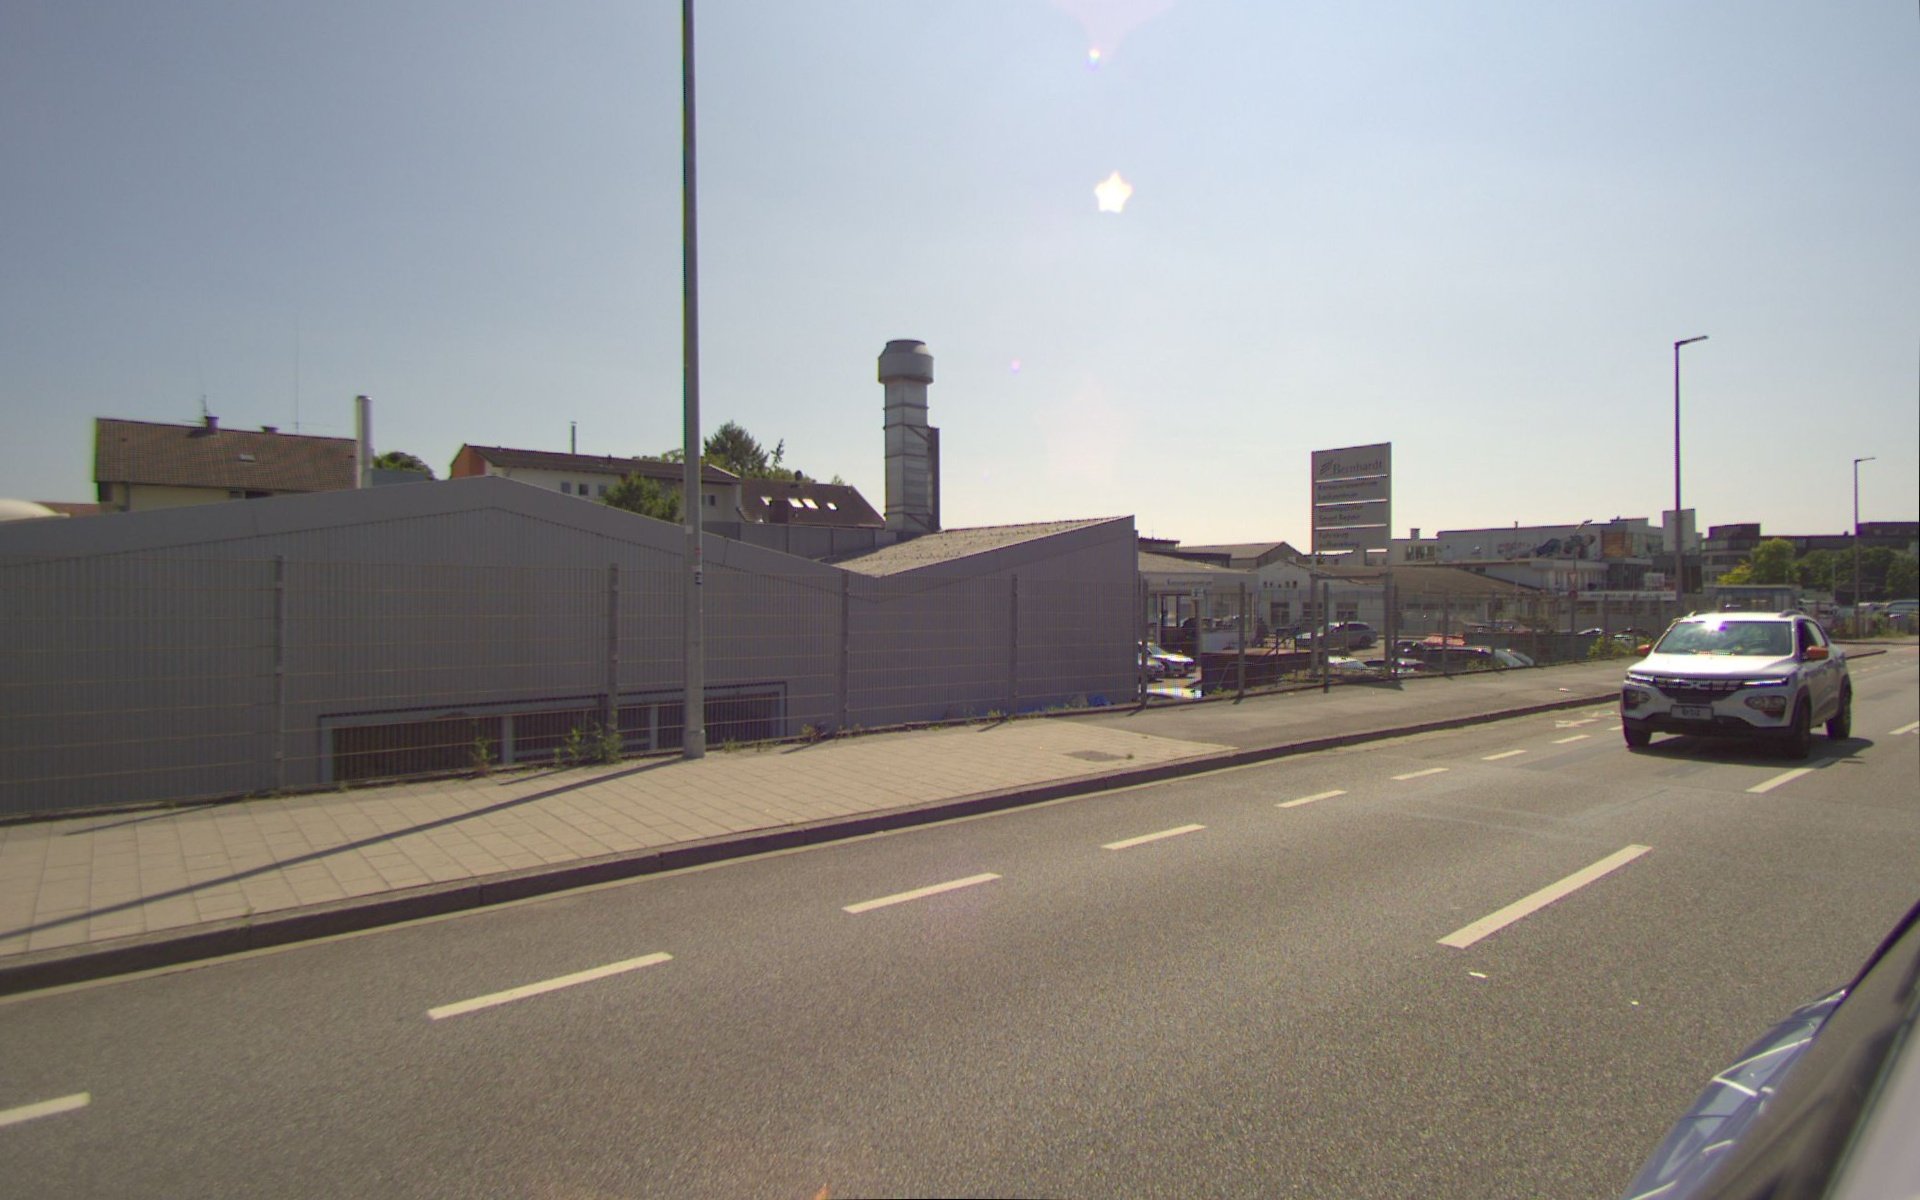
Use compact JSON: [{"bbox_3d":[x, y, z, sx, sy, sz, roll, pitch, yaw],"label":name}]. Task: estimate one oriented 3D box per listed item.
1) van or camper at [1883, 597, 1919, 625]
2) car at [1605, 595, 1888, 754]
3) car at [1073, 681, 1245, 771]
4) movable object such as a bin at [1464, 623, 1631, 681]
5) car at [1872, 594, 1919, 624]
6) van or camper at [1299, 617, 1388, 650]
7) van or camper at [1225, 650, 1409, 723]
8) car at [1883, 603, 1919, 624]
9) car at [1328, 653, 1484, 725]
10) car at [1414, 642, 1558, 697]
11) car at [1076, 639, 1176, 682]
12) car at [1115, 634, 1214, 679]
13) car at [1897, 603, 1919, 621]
[{"bbox_3d":[95.887,1.092,100.205,2.664,2.734,6.361,1,0,-40],"label":"van or camper"},{"bbox_3d":[8.959,0.761,11.451,3.610,1.504,1.725,1,-3,-39],"label":"car"},{"bbox_3d":[4.839,3.037,25.179,1.961,1.854,4.001,0,-3,-32],"label":"car"},{"bbox_3d":[22.461,2.004,38.892,1.965,2.040,5.122,0,-3,-40],"label":"movable object such as a bin"},{"bbox_3d":[93.307,0.842,98.644,2.278,2.906,6.241,1,0,-39],"label":"car"},{"bbox_3d":[21.271,1.836,56.174,4.140,1.561,2.006,-1,4,-14],"label":"van or camper"},{"bbox_3d":[9.684,2.275,27.649,1.988,1.672,4.314,0,-1,-44],"label":"van or camper"},{"bbox_3d":[91.695,1.333,96.472,1.965,1.976,5.244,1,0,-40],"label":"car"},{"bbox_3d":[13.927,2.738,31.762,1.965,2.040,3.991,1,-3,-41],"label":"car"},{"bbox_3d":[18.232,2.362,35.175,1.966,1.672,3.992,0,-1,-42],"label":"car"},{"bbox_3d":[7.136,2.577,43.782,1.817,1.534,3.991,-2,2,-43],"label":"car"},{"bbox_3d":[9.155,2.484,45.591,1.967,1.682,3.991,-2,2,-43],"label":"car"},{"bbox_3d":[89.978,1.140,94.156,1.766,1.613,3.928,1,-1,-40],"label":"car"}]
